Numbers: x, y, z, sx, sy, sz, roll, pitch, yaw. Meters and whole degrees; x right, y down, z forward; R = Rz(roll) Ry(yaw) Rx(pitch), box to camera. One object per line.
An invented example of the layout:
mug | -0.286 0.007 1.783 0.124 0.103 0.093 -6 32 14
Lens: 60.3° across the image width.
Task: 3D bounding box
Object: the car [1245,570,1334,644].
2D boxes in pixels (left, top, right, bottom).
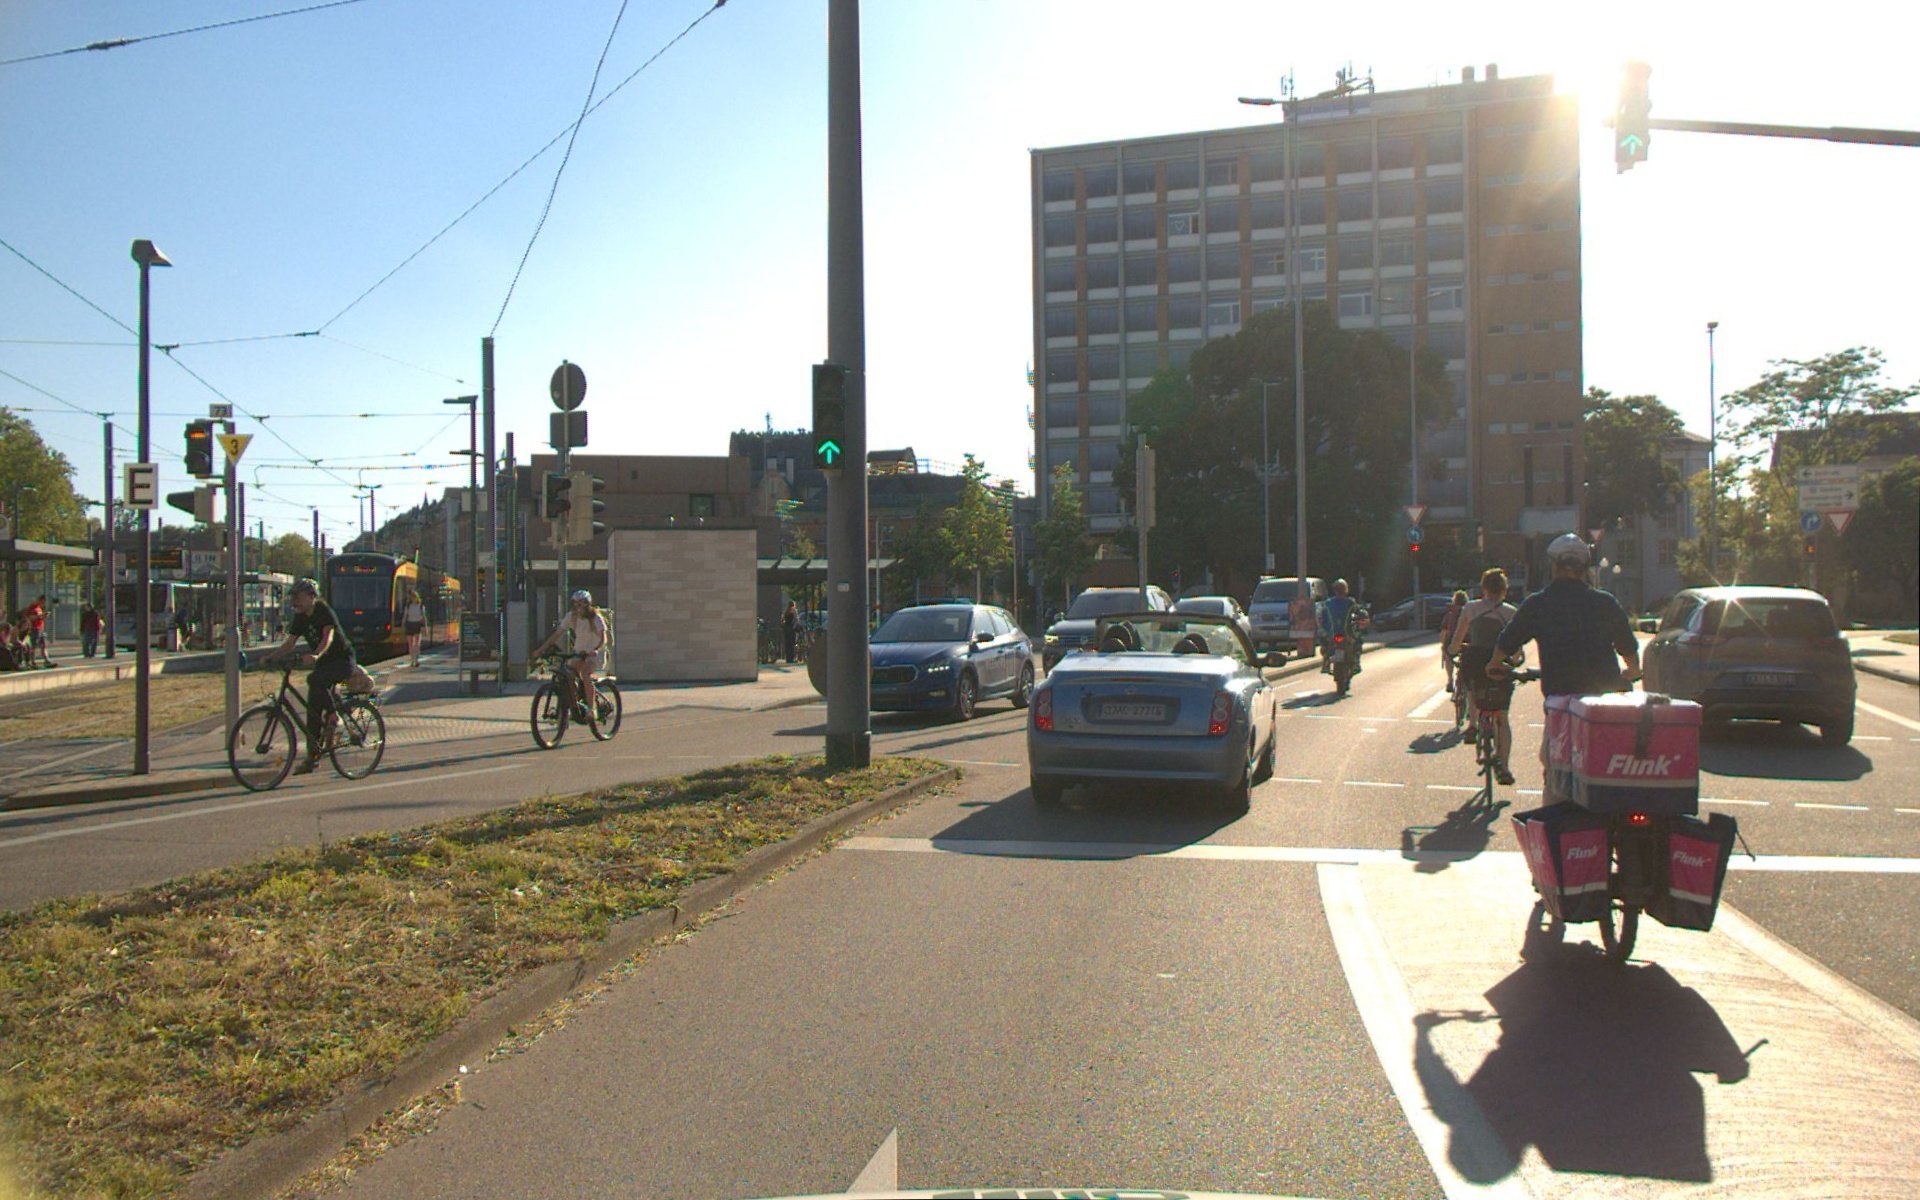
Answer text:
car | 9.587 0.195 47.834 1.869 1.979 4.708 -3 -1 19

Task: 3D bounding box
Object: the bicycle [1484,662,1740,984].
bicycle | 2.948 0.920 7.712 0.542 1.192 2.374 1 -1 8

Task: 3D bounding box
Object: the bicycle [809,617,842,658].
bicycle | -3.896 1.066 47.845 0.596 1.134 1.889 1 -1 -15

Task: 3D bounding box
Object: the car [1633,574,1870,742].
car | 9.109 0.622 19.380 1.792 1.719 4.371 1 -1 16

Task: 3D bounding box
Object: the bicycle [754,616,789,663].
bicycle | -4.746 0.979 41.647 0.596 1.134 1.889 1 -1 -15

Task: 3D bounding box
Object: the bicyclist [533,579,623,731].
bicyclist | -4.336 0.611 18.799 0.694 1.686 0.743 -1 0 19

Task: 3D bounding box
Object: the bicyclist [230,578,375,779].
bicyclist | -5.753 0.672 14.502 0.694 1.686 0.901 -3 -1 19

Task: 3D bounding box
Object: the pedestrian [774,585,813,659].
pedestrian | -4.328 0.567 42.928 0.886 1.901 0.684 1 -1 -15

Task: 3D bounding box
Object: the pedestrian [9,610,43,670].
pedestrian | -21.740 0.920 38.493 0.562 1.369 0.636 -1 0 -20

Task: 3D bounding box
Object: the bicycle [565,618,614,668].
bicycle | -8.669 0.994 38.778 0.594 1.134 1.897 1 -1 3

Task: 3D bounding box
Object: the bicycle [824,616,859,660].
bicycle | -3.171 0.997 44.193 0.596 1.134 1.889 1 -1 -15

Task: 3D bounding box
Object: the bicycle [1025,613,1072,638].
bicycle | 4.504 1.310 84.402 2.360 1.212 0.609 1 -1 28

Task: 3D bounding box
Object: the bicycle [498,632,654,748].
bicycle | -4.321 0.986 18.819 0.660 1.201 2.184 -1 0 19

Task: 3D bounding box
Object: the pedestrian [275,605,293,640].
pedestrian | -34.617 1.160 84.726 0.720 1.779 0.638 -1 0 -10

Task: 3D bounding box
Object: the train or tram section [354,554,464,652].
train or tram section | -22.545 0.150 68.288 2.959 3.660 12.160 1 -1 -12

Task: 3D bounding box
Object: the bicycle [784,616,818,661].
bicycle | -4.219 1.007 43.749 0.596 1.134 1.889 1 -1 -15

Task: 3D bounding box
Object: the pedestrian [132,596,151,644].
pedestrian | -30.380 0.737 61.419 0.562 1.779 0.635 -1 0 -22

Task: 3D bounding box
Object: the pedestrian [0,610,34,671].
pedestrian | -21.559 0.918 37.819 0.607 1.364 0.438 -1 0 -20

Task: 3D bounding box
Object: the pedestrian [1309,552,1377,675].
pedestrian | 6.027 0.210 25.988 0.817 1.901 0.920 1 -1 27

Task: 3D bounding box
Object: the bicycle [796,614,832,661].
bicycle | -3.701 0.939 41.844 0.596 1.134 1.889 1 -1 -15

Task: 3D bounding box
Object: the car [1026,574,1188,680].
car | 2.775 0.457 30.177 1.725 1.736 4.530 -2 -1 21

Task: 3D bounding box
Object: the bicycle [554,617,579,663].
bicycle | -10.036 1.010 42.238 0.596 1.134 1.890 1 -1 -13

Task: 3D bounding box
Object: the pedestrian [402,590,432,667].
pedestrian | -12.664 0.659 38.580 0.629 1.779 0.568 -1 0 -21

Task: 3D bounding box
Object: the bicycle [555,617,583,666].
bicycle | -9.535 1.002 40.338 0.596 1.134 1.889 1 -1 -15

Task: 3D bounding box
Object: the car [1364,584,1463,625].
car | 19.005 0.186 69.281 3.949 1.557 1.785 -2 -1 -32

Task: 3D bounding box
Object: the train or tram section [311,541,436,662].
train or tram section | -19.779 0.085 56.435 2.833 3.660 12.153 1 -1 -14

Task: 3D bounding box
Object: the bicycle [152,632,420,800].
bicycle | -5.778 0.954 14.379 0.660 1.272 2.458 -3 -1 19

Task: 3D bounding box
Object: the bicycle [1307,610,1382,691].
bicycle | 6.084 0.774 26.078 0.596 1.212 2.411 1 -1 27

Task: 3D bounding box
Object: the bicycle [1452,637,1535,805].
bicycle | 4.120 0.887 12.843 0.552 1.171 1.951 1 -1 16

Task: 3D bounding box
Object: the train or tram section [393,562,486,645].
train or tram section | -25.040 0.207 80.092 2.986 3.660 12.016 1 -1 -12

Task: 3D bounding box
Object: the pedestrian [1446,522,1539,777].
pedestrian | 4.136 0.371 12.882 0.645 1.901 0.873 1 -1 17

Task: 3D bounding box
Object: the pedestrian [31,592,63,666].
pedestrian | -22.261 0.706 40.332 0.562 1.779 0.636 -1 0 -20

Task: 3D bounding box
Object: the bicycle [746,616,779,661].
bicycle | -5.231 0.999 43.701 0.596 1.134 1.889 1 -1 -15

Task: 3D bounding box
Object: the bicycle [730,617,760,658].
bicycle | -6.165 1.070 47.362 0.596 1.134 1.889 1 -1 -15

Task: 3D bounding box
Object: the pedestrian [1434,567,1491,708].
pedestrian | 5.977 0.441 19.704 0.575 1.626 1.025 1 -1 14

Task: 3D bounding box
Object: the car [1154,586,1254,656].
car | 5.911 0.475 39.726 1.659 1.588 3.981 -1 0 19

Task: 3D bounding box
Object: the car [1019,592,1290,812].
car | 1.728 0.717 13.427 1.625 1.466 4.157 1 -1 14

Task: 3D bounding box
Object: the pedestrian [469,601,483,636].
pedestrian | -24.977 0.945 85.416 0.594 1.779 0.829 -1 0 -10

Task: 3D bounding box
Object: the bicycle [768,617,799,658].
bicycle | -5.092 1.059 47.578 0.596 1.134 1.889 1 -1 -15

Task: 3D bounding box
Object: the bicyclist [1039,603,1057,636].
bicyclist | 4.505 1.000 84.408 0.737 1.626 0.589 1 -1 27

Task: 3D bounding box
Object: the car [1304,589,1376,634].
car | 14.235 0.414 61.838 1.763 1.557 3.997 -2 -1 25

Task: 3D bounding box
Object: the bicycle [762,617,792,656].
bicycle | -5.494 1.082 49.525 0.596 1.134 1.889 1 -1 -15

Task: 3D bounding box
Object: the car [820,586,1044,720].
car | -0.266 0.663 22.083 1.700 1.601 3.925 1 -1 20

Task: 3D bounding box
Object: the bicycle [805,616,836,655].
bicycle | -4.217 1.054 49.801 0.596 1.134 1.889 1 -1 -15

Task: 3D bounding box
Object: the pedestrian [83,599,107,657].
pedestrian | -26.732 0.868 51.088 0.631 1.779 0.566 -1 -1 -29

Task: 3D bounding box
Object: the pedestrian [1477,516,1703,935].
pedestrian | 3.035 0.576 8.065 0.789 1.901 0.957 1 -1 6

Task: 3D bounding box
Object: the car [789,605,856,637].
car | -7.066 1.060 84.922 1.631 1.588 3.545 -1 0 -41

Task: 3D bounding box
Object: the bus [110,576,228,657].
bus | -35.560 0.706 74.837 2.677 3.331 13.403 1 -1 -17

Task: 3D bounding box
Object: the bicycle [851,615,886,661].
bicycle | -2.333 0.968 42.220 0.596 1.134 1.891 1 -1 -12

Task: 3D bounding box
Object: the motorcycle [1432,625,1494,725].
motorcycle | 6.001 0.859 19.809 0.600 1.117 2.362 1 -1 14

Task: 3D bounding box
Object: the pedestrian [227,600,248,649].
pedestrian | -26.366 0.891 60.344 0.631 1.779 0.566 -1 -1 -29
